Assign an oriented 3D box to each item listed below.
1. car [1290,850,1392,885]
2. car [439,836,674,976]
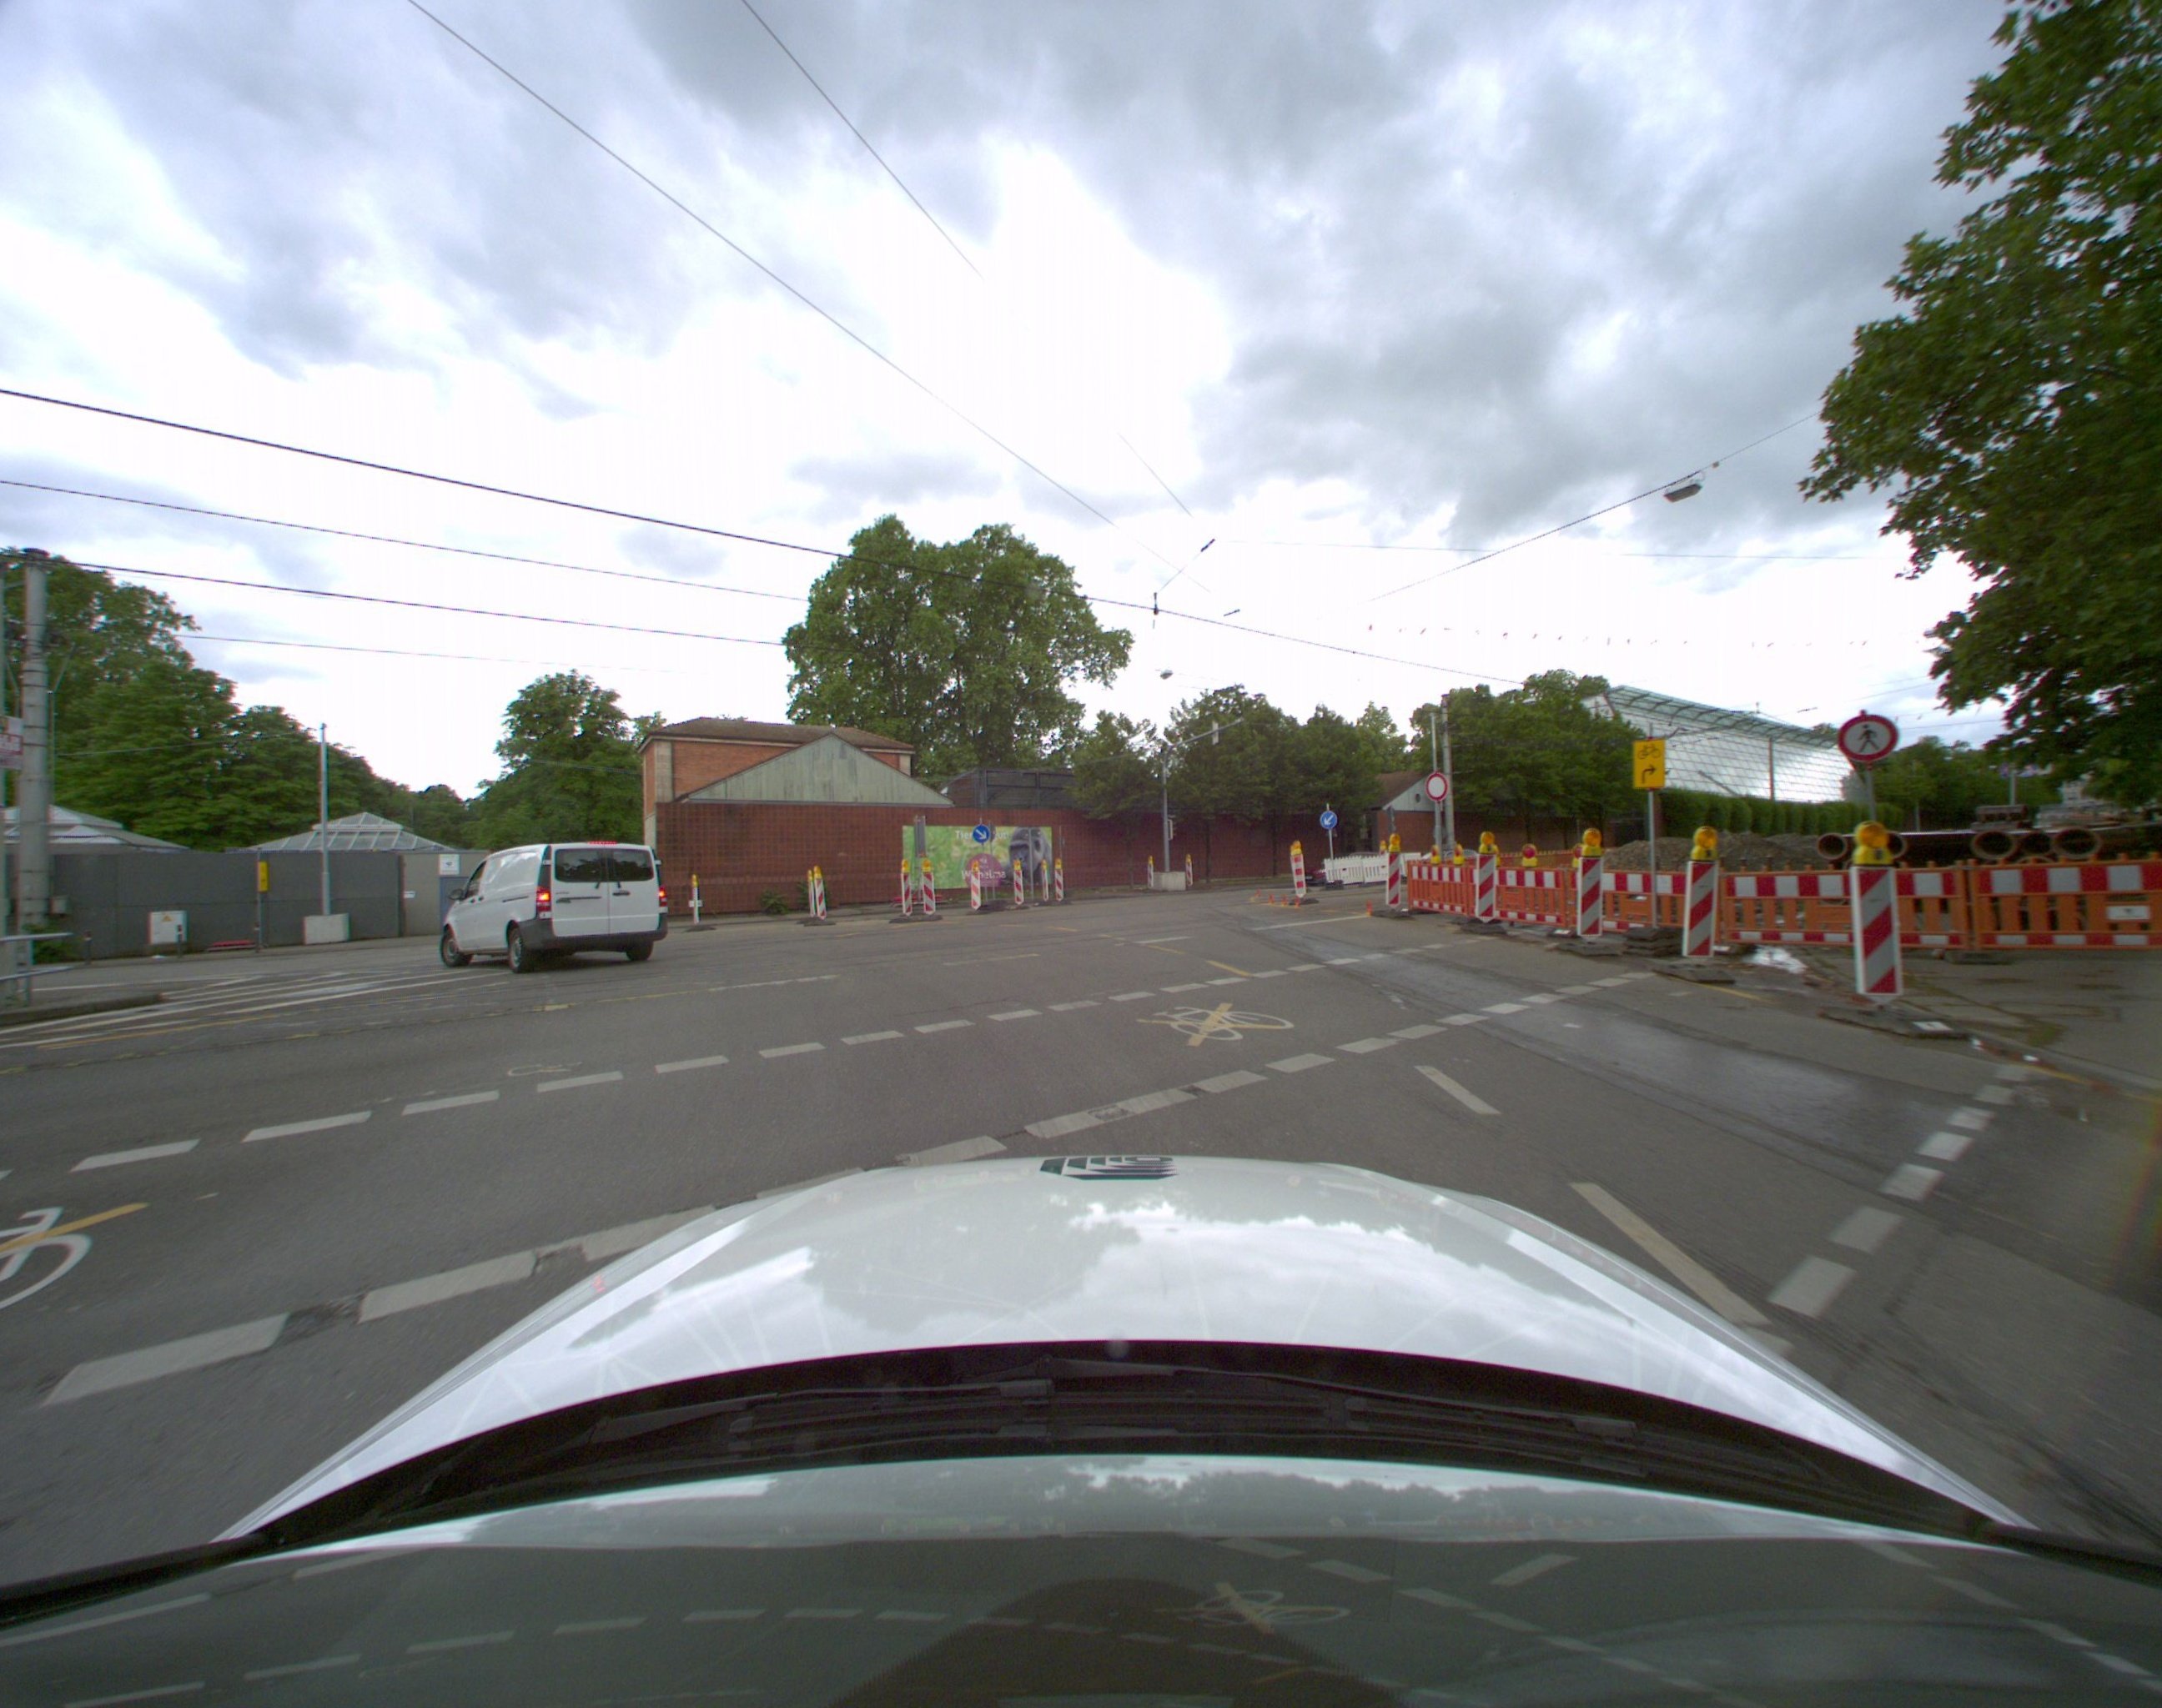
[{"bbox_3d":[12.192,0.633,38.197,4.468,1.443,1.863,-1,-2,-27],"label":"car"},{"bbox_3d":[-8.801,0.817,13.502,4.640,1.901,1.936,-4,-1,40],"label":"car"}]
